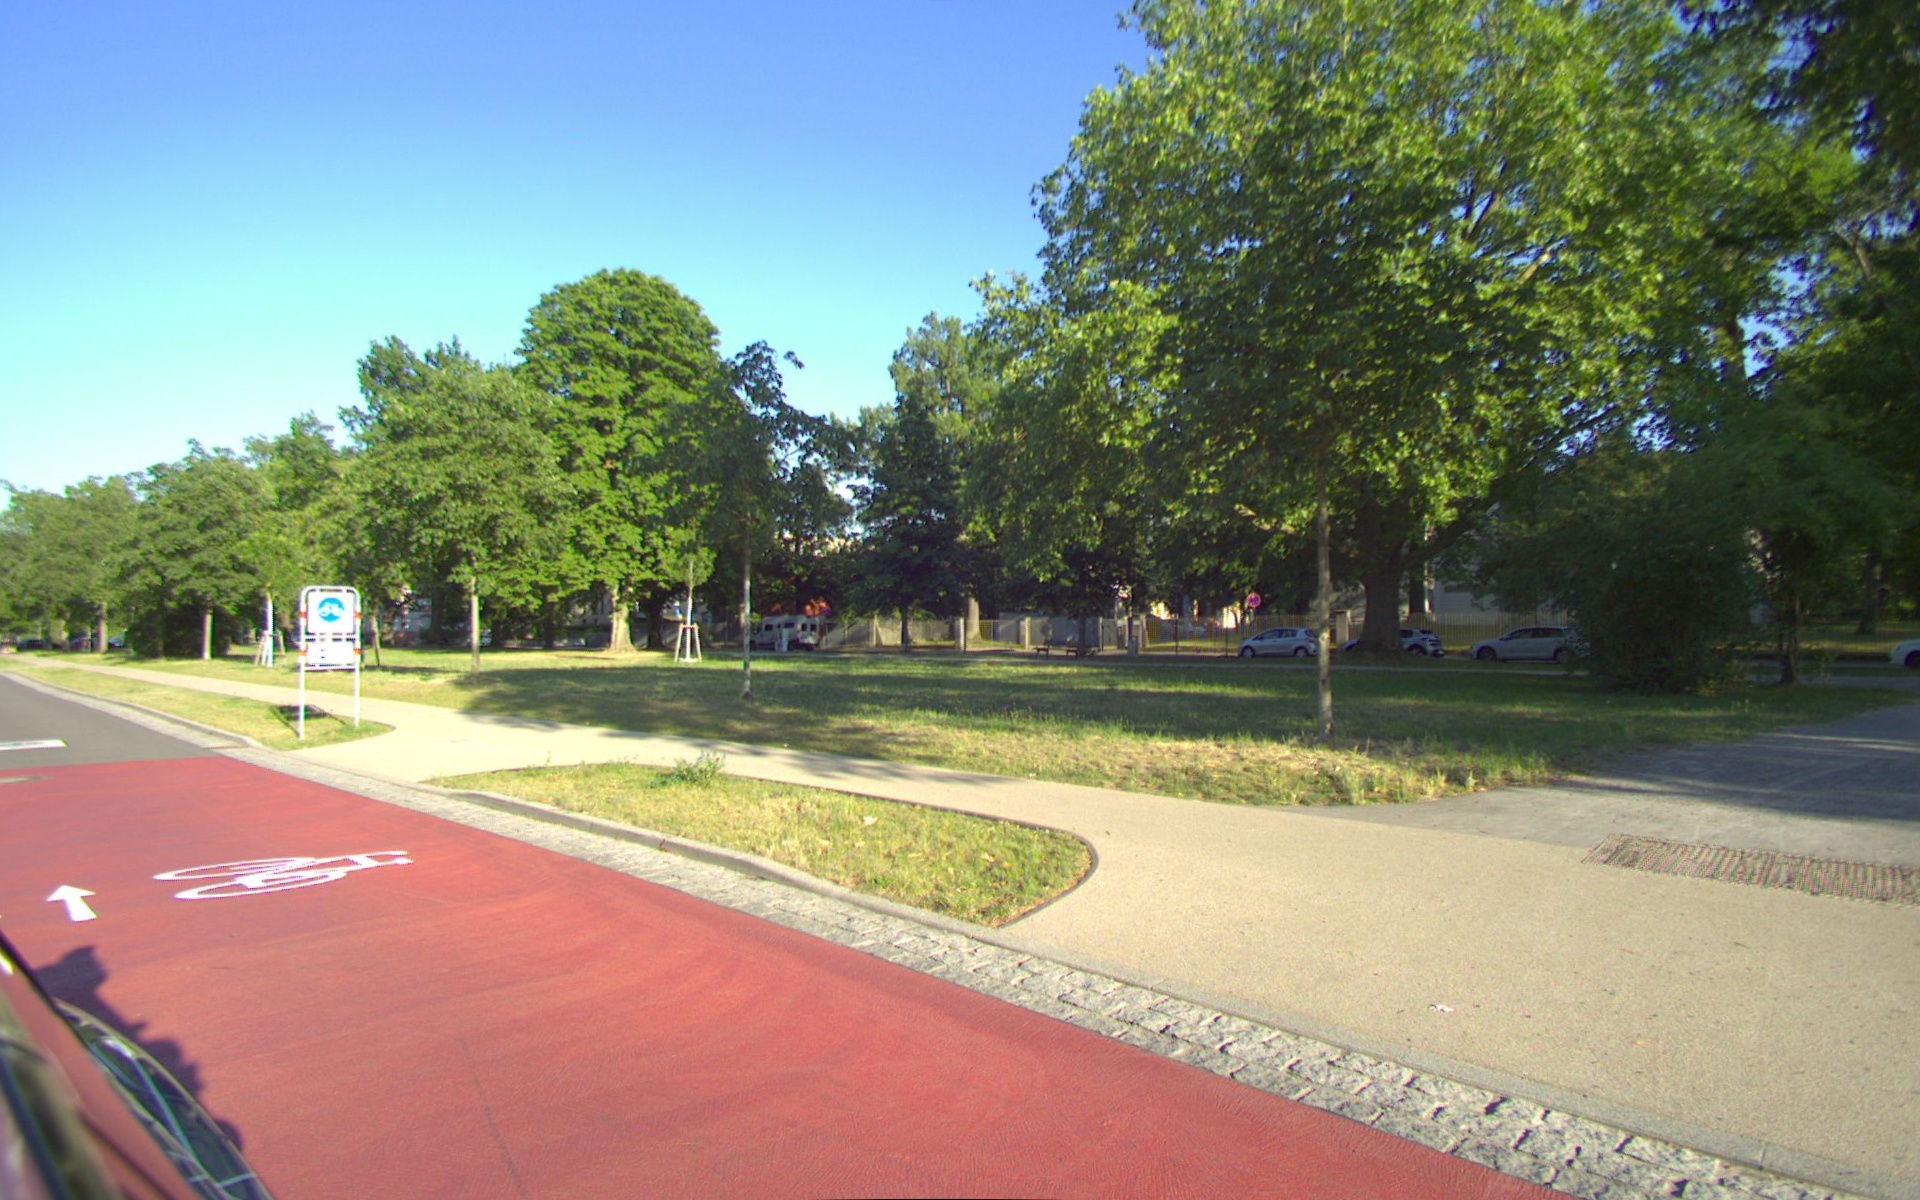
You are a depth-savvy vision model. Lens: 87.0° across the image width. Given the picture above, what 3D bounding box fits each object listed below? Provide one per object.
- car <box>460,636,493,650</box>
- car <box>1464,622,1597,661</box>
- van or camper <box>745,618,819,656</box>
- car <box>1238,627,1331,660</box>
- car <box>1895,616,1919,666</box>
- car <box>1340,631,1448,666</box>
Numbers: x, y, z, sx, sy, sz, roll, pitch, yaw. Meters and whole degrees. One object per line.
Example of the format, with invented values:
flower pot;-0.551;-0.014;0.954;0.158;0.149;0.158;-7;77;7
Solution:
car;-51.206;4.542;107.141;3.999;1.475;1.773;-2;-2;43
car;21.425;1.568;38.125;4.108;1.378;1.505;-3;-2;43
van or camper;-12.426;2.607;70.449;5.465;2.457;1.973;-2;0;42
car;14.407;1.925;45.066;3.649;1.378;1.505;-3;-2;43
car;30.191;1.198;29.894;1.582;1.475;3.665;0;-2;-45
car;17.851;1.990;41.728;3.792;1.378;1.505;-3;-2;43
